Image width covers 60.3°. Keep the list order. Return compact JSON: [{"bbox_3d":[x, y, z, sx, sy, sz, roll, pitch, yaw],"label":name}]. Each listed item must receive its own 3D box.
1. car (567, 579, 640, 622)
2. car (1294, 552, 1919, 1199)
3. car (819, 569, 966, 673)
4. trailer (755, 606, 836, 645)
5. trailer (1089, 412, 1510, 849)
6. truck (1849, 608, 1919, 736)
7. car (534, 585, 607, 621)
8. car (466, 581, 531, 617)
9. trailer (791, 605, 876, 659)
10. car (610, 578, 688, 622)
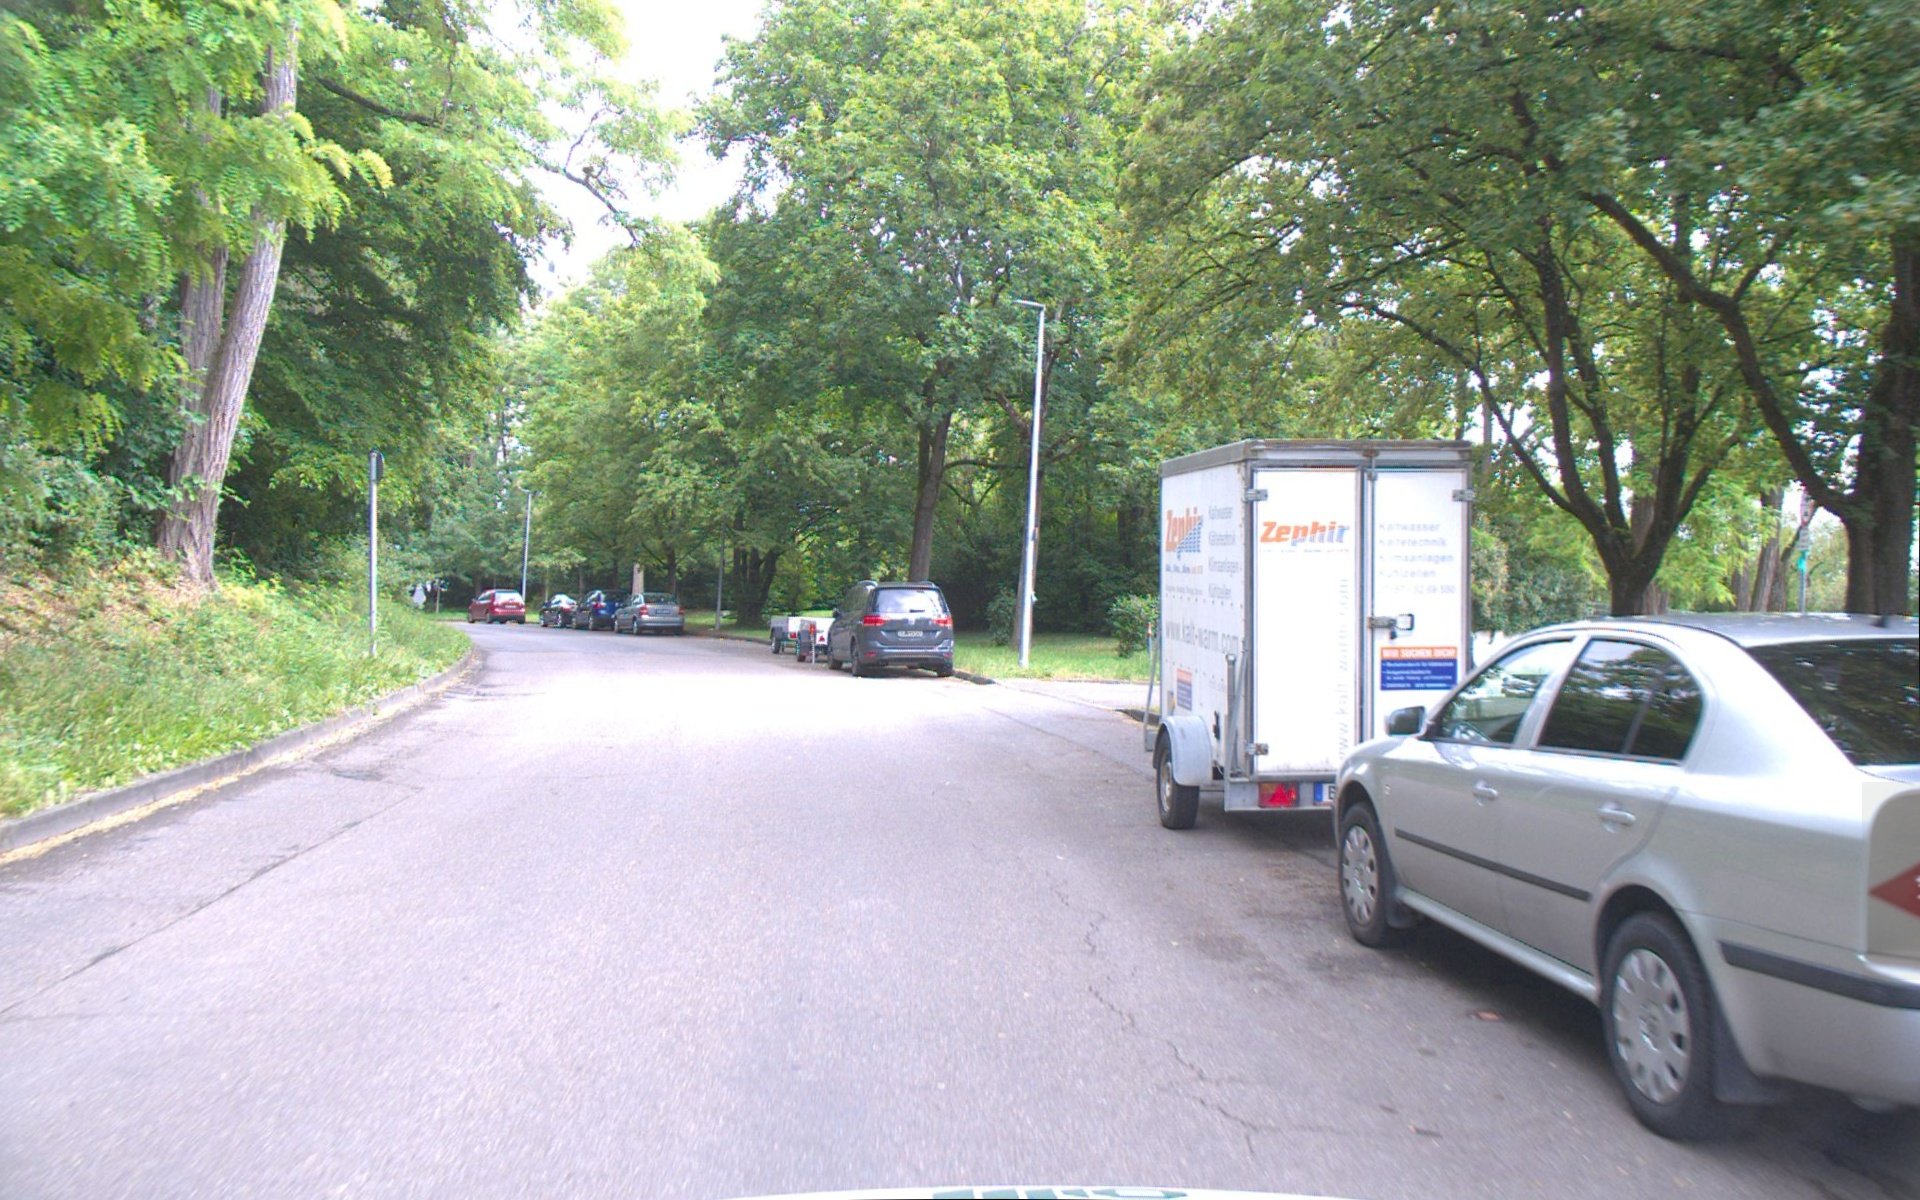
[{"bbox_3d":[-13.680,0.032,63.345,1.694,1.536,4.144,3,-2,-27],"label":"car"},{"bbox_3d":[2.746,0.663,6.025,1.707,1.552,4.630,0,0,-6],"label":"car"},{"bbox_3d":[-1.328,0.352,30.293,1.745,1.691,4.823,3,0,-14],"label":"car"},{"bbox_3d":[-4.094,0.619,40.796,1.342,0.862,3.262,3,-2,-17],"label":"trailer"},{"bbox_3d":[2.106,0.156,11.397,1.727,2.469,3.882,0,0,-6],"label":"trailer"},{"bbox_3d":[33.781,2.531,56.530,9.480,4.067,2.659,4,-2,-40],"label":"truck"},{"bbox_3d":[-15.923,0.122,67.508,1.732,1.360,4.371,2,-1,-30],"label":"car"},{"bbox_3d":[-21.412,-0.029,76.659,1.723,1.590,3.952,1,-1,-34],"label":"car"},{"bbox_3d":[-2.814,0.674,36.191,1.333,0.986,3.881,3,0,-12],"label":"trailer"},{"bbox_3d":[-10.792,0.018,57.253,1.696,1.456,3.916,0,0,-26],"label":"car"}]
